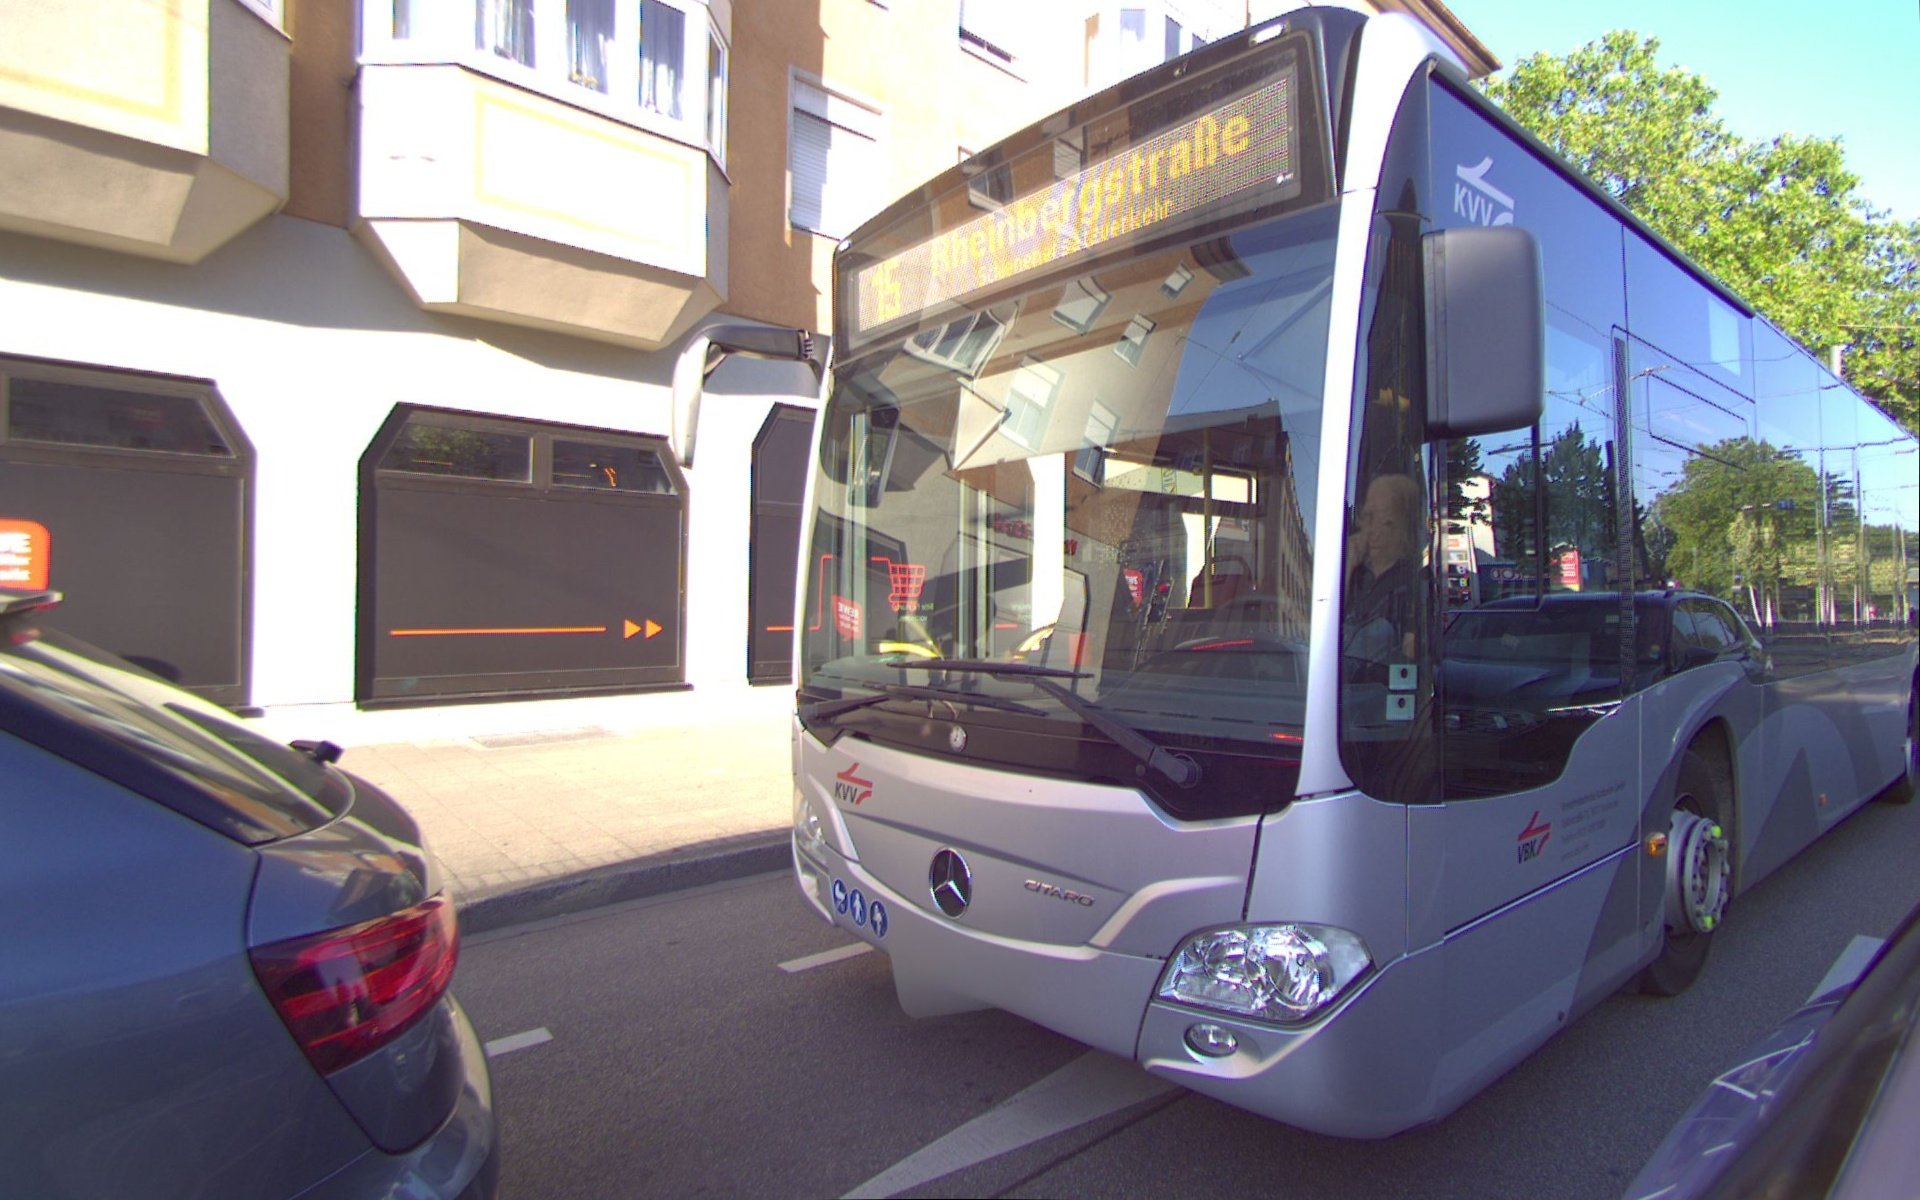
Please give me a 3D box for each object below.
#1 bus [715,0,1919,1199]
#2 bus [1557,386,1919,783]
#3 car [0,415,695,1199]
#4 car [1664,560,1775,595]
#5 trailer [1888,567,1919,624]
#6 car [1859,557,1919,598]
[{"bbox_3d":[3.315,-0.122,5.836,8.971,3.094,2.743,0,0,-41],"label":"bus"},{"bbox_3d":[9.985,-0.123,11.668,8.698,3.094,2.743,0,0,-41],"label":"bus"},{"bbox_3d":[-2.462,0.599,0.748,4.014,1.595,1.773,0,2,-41],"label":"car"},{"bbox_3d":[37.717,-1.077,50.320,1.770,1.570,4.120,0,-1,-39],"label":"car"},{"bbox_3d":[46.457,-0.212,48.887,4.569,2.620,1.888,0,1,-41],"label":"trailer"},{"bbox_3d":[41.506,-0.984,44.970,3.930,1.650,1.799,1,2,-41],"label":"car"}]
